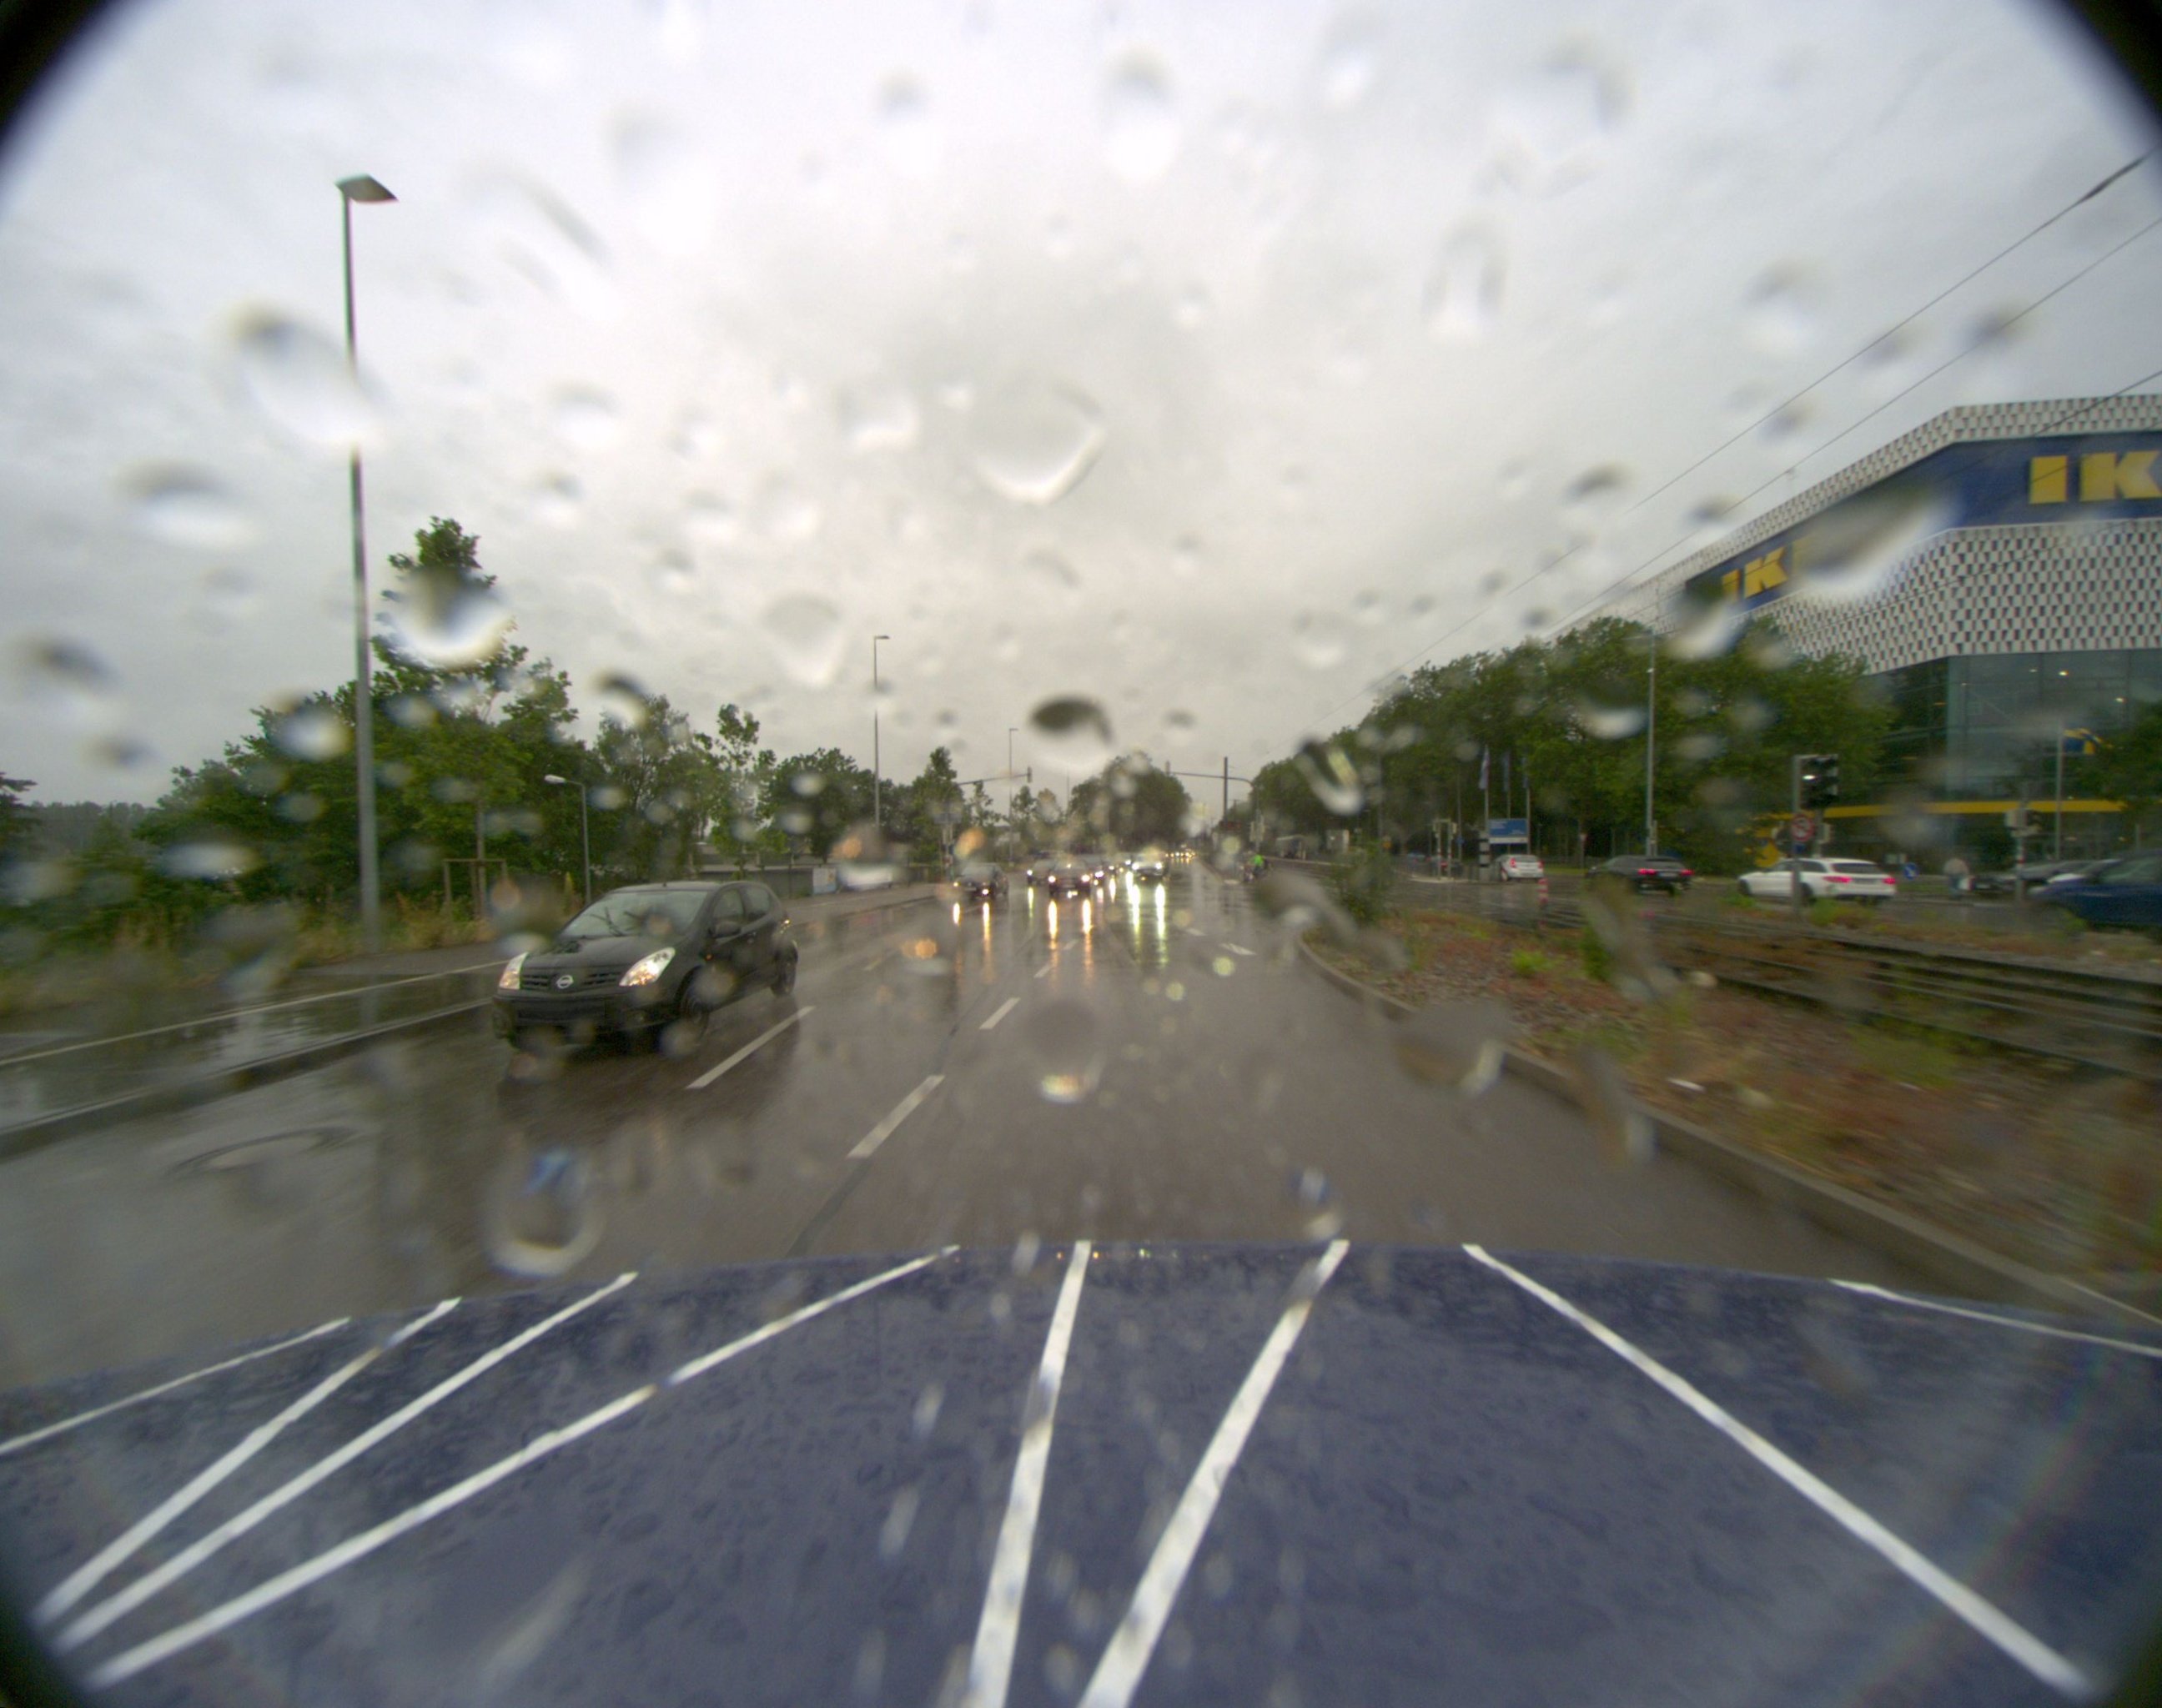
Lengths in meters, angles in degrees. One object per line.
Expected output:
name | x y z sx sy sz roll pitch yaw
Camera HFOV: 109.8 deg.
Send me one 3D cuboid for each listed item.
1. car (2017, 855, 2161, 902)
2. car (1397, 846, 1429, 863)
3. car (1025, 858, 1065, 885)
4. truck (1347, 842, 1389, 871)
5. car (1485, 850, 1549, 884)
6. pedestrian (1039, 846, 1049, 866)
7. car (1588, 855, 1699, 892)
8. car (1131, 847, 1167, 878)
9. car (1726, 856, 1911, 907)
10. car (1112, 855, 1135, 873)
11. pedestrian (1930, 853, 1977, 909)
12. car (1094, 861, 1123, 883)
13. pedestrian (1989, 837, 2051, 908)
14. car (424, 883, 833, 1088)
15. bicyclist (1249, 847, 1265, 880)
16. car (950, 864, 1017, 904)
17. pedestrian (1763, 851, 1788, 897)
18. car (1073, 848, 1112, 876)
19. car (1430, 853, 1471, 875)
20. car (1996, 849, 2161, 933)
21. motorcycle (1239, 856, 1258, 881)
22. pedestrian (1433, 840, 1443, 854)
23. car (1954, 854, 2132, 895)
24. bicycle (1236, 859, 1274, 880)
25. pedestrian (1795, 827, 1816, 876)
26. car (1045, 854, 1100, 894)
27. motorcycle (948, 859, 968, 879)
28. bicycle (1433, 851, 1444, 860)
car | 37.094 0.871 27.164 4.456 1.532 1.821 -2 0 10
car | 29.305 0.084 67.176 1.585 1.406 3.918 -2 -1 9
car | -2.162 1.025 46.775 1.714 1.515 4.045 -2 -1 7
truck | 34.192 0.202 90.793 2.745 2.833 9.095 -2 2 9
car | 23.731 0.679 41.537 1.715 1.698 4.433 -2 -1 12
pedestrian | -3.059 0.149 62.498 0.733 1.602 0.618 0 2 7
car | 20.912 0.681 28.461 1.715 1.242 4.051 -2 -1 10
car | 4.298 0.486 47.663 1.993 1.778 4.555 -2 0 7
car | 23.168 0.805 24.180 1.815 1.427 4.716 -2 -1 9
car | 3.938 0.935 70.060 1.714 1.515 4.045 -2 -1 7
pedestrian | 32.434 1.000 28.264 0.783 2.002 0.859 -2 1 15
car | 2.043 1.278 55.227 1.714 1.515 4.045 -2 -1 7
pedestrian | 31.050 0.610 25.145 0.919 2.232 0.990 -3 3 21
car | -4.256 1.119 8.058 1.776 1.453 4.093 -2 -1 1
bicyclist | 9.236 0.506 39.912 0.618 1.721 0.793 -3 0 5
car | -3.919 1.184 31.139 1.714 1.476 4.045 -2 -1 7
pedestrian | 30.719 0.871 33.626 0.693 2.001 0.629 -3 0 39
car | 0.718 0.459 44.302 1.714 1.515 4.045 -2 -1 7
car | 25.504 0.666 52.568 1.584 1.358 4.205 -2 -1 13
car | 17.311 0.553 11.598 1.715 1.242 4.465 -2 -1 9
motorcycle | 8.551 0.735 38.791 0.527 1.214 1.404 -3 0 28
pedestrian | 34.919 -0.706 74.308 0.579 1.327 0.686 -2 1 3
car | 38.065 0.795 30.181 4.282 1.532 1.821 -1 0 10
bicycle | 9.143 0.804 39.990 1.869 1.002 0.670 -3 0 6
pedestrian | 31.588 -0.110 33.131 0.570 2.122 0.634 -3 0 40
car | -0.298 0.850 33.547 1.875 1.573 4.045 -2 -1 6
motorcycle | -7.529 0.906 46.611 0.632 1.211 1.450 1 1 19
bicycle | 34.950 0.116 74.348 0.574 0.852 1.176 -2 1 3
